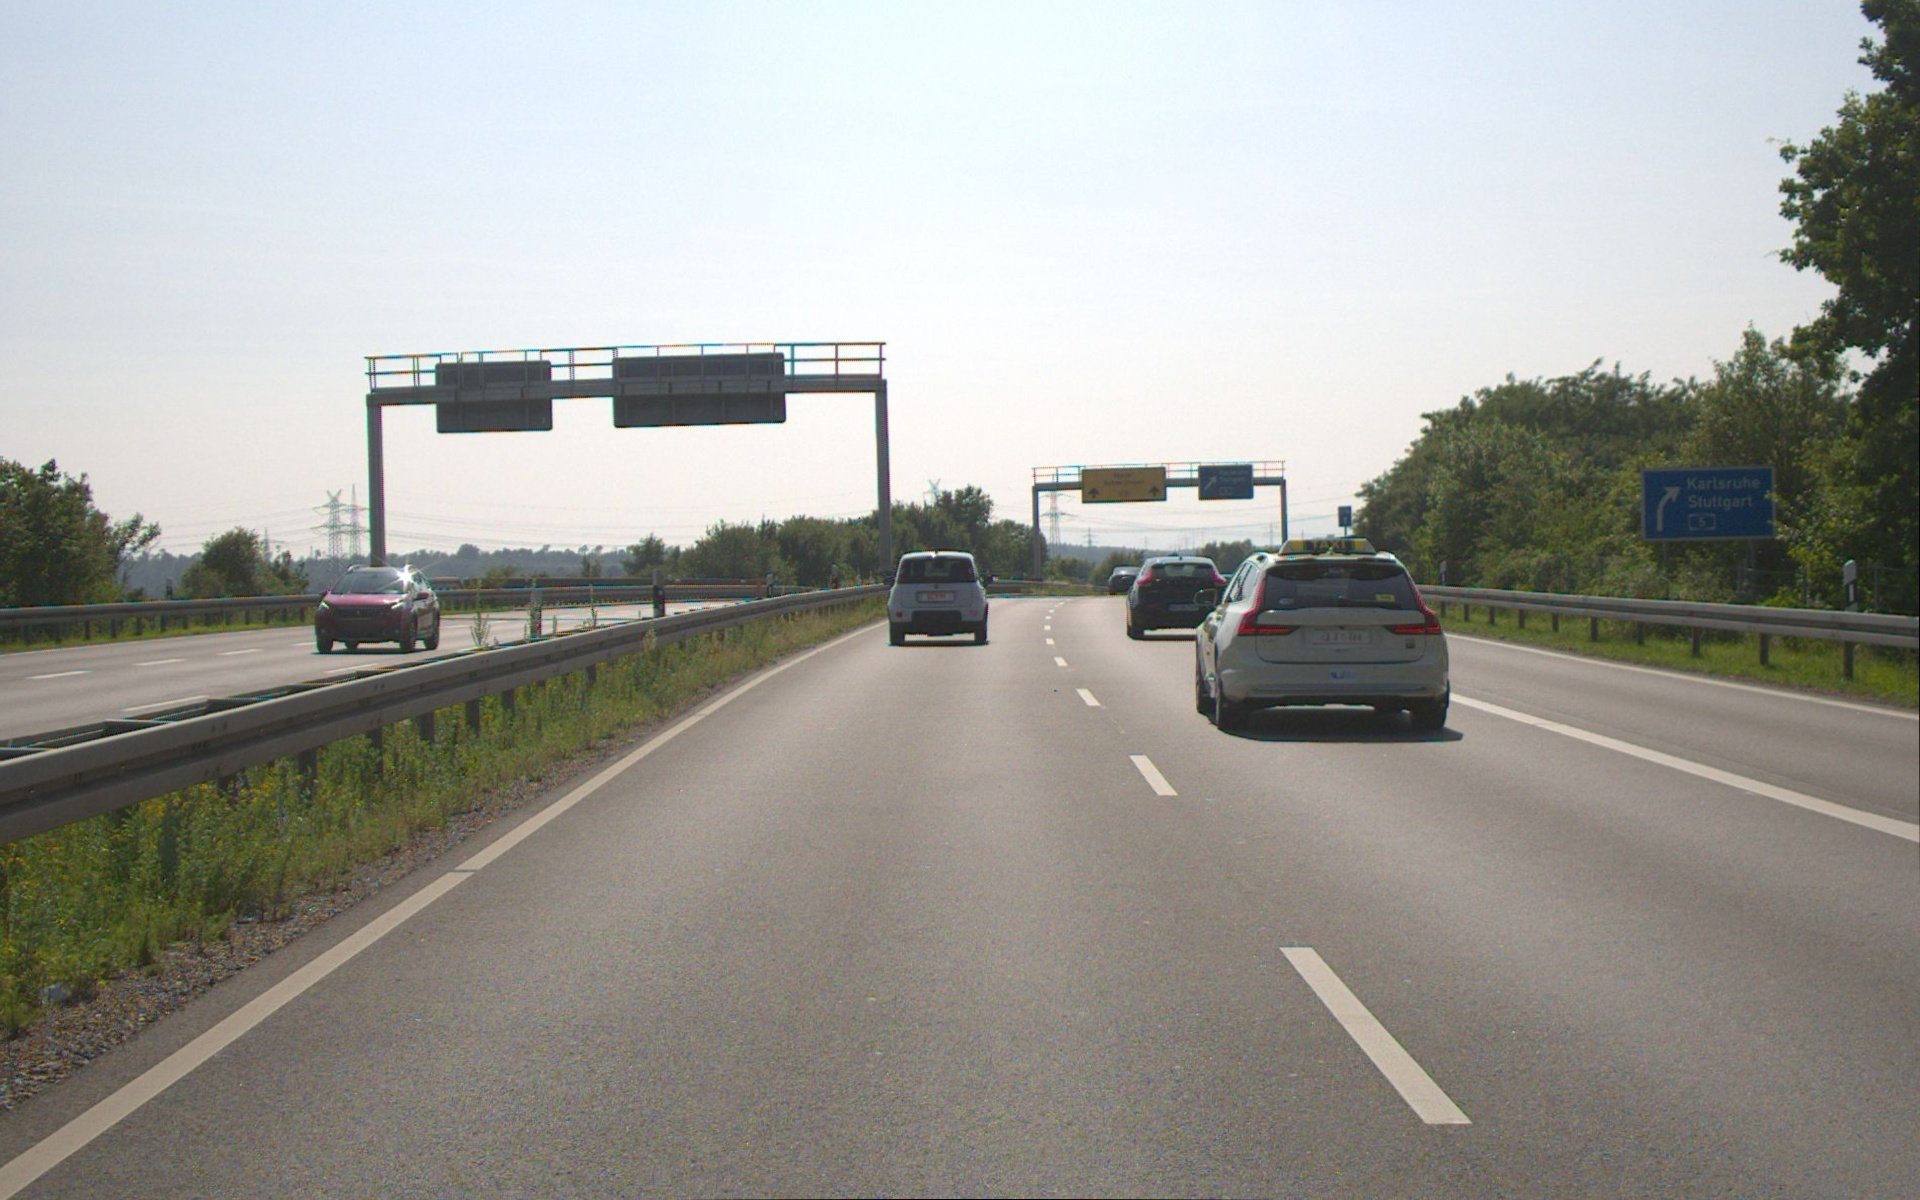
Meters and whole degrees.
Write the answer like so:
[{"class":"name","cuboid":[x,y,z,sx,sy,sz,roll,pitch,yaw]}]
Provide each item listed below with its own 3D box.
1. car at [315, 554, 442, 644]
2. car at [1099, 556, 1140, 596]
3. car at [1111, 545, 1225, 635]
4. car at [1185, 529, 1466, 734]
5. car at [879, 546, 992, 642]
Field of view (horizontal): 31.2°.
[{"class":"car","cuboid":[-10.538,-0.044,62.507,1.642,1.569,4.265,0,1,-1]},{"class":"car","cuboid":[8.182,-1.228,176.548,1.993,2.007,4.000,0,1,2]},{"class":"car","cuboid":[3.621,-0.166,60.451,1.793,1.538,3.671,0,0,0]},{"class":"car","cuboid":[3.011,0.227,29.106,1.958,1.596,4.107,0,1,0]},{"class":"car","cuboid":[-0.417,-0.075,58.211,1.793,1.498,4.043,-2,-1,0]}]
